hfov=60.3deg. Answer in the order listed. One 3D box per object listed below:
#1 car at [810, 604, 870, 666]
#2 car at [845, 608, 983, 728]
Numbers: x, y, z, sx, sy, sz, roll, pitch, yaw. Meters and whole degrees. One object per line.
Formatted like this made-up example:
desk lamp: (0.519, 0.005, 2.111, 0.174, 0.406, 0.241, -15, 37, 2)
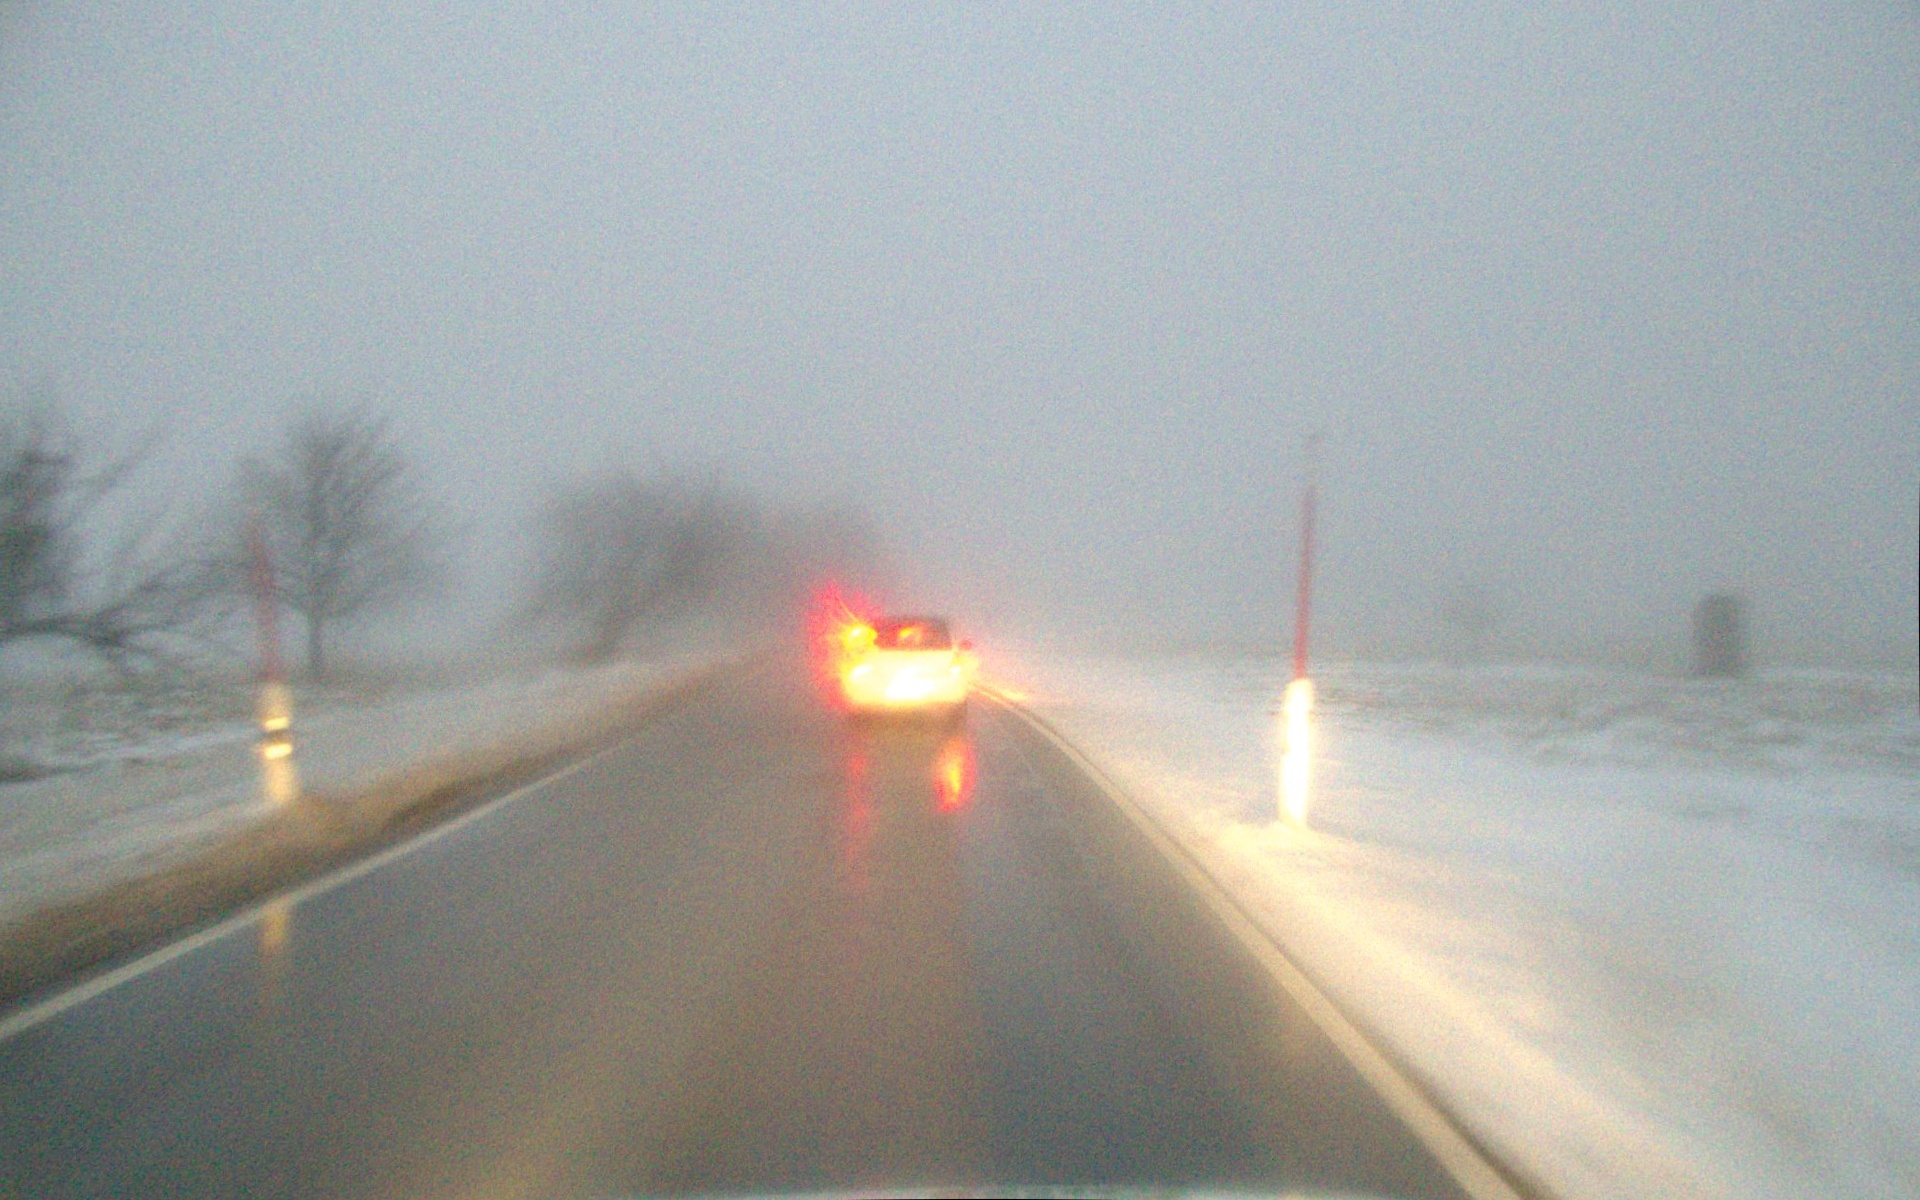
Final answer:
car: (-3.108, 0.905, 43.288, 1.449, 1.534, 3.051, -1, -1, -2)
car: (-0.713, 0.879, 22.890, 1.673, 1.489, 3.996, 1, -1, -5)
